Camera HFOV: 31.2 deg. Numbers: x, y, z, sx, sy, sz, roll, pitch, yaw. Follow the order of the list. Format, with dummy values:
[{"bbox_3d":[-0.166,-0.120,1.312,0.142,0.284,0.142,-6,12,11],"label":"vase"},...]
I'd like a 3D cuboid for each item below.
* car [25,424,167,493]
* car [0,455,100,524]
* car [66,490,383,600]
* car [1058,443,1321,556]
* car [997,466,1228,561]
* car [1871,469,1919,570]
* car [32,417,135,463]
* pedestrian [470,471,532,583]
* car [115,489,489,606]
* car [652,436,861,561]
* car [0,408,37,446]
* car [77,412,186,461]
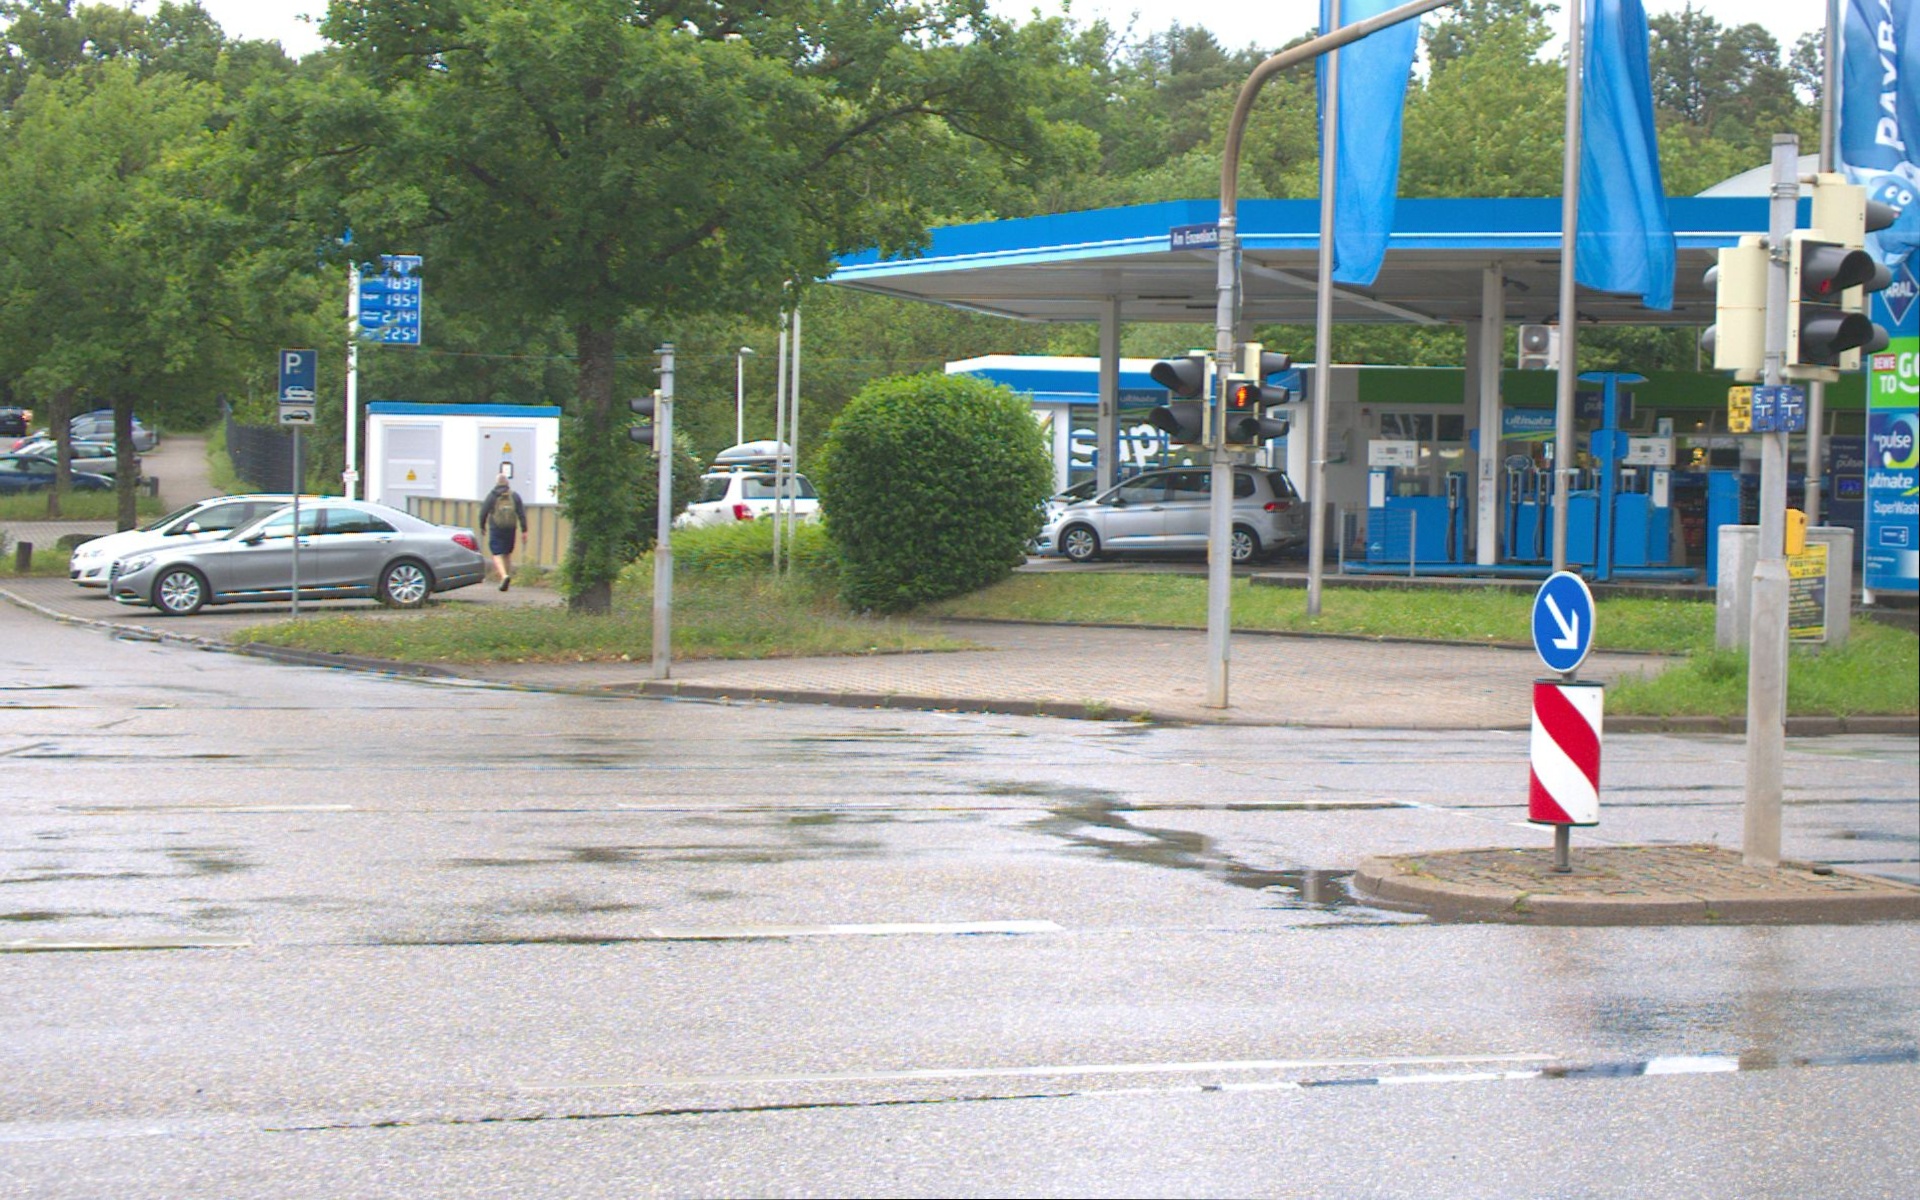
[{"bbox_3d":[-23.558,-3.836,93.730,3.697,1.744,1.698,1,1,-15],"label":"car"},{"bbox_3d":[-23.535,-2.793,86.847,3.458,1.649,1.617,1,1,-15],"label":"car"},{"bbox_3d":[-11.243,-0.836,52.518,4.571,1.583,1.930,0,1,-17],"label":"car"},{"bbox_3d":[3.927,-1.698,58.502,4.118,1.801,1.944,2,1,16],"label":"car"},{"bbox_3d":[2.862,-1.617,64.444,3.990,1.722,1.793,1,1,17],"label":"car"},{"bbox_3d":[16.484,-1.223,54.830,3.555,1.576,1.687,3,2,22],"label":"car"},{"bbox_3d":[-35.578,-6.492,139.569,3.986,1.733,1.811,1,1,-16],"label":"car"},{"bbox_3d":[-6.899,-1.097,51.665,0.808,1.656,0.887,0,1,-15],"label":"pedestrian"},{"bbox_3d":[-9.116,-0.721,47.534,4.884,1.543,2.001,0,1,-17],"label":"car"},{"bbox_3d":[-3.148,-1.543,52.500,1.808,1.791,3.701,1,1,-27],"label":"car"},{"bbox_3d":[-46.637,-8.567,170.197,1.804,1.733,4.001,1,1,-15],"label":"car"},{"bbox_3d":[-31.982,-6.304,132.660,3.986,1.733,1.811,1,1,-16],"label":"car"}]
